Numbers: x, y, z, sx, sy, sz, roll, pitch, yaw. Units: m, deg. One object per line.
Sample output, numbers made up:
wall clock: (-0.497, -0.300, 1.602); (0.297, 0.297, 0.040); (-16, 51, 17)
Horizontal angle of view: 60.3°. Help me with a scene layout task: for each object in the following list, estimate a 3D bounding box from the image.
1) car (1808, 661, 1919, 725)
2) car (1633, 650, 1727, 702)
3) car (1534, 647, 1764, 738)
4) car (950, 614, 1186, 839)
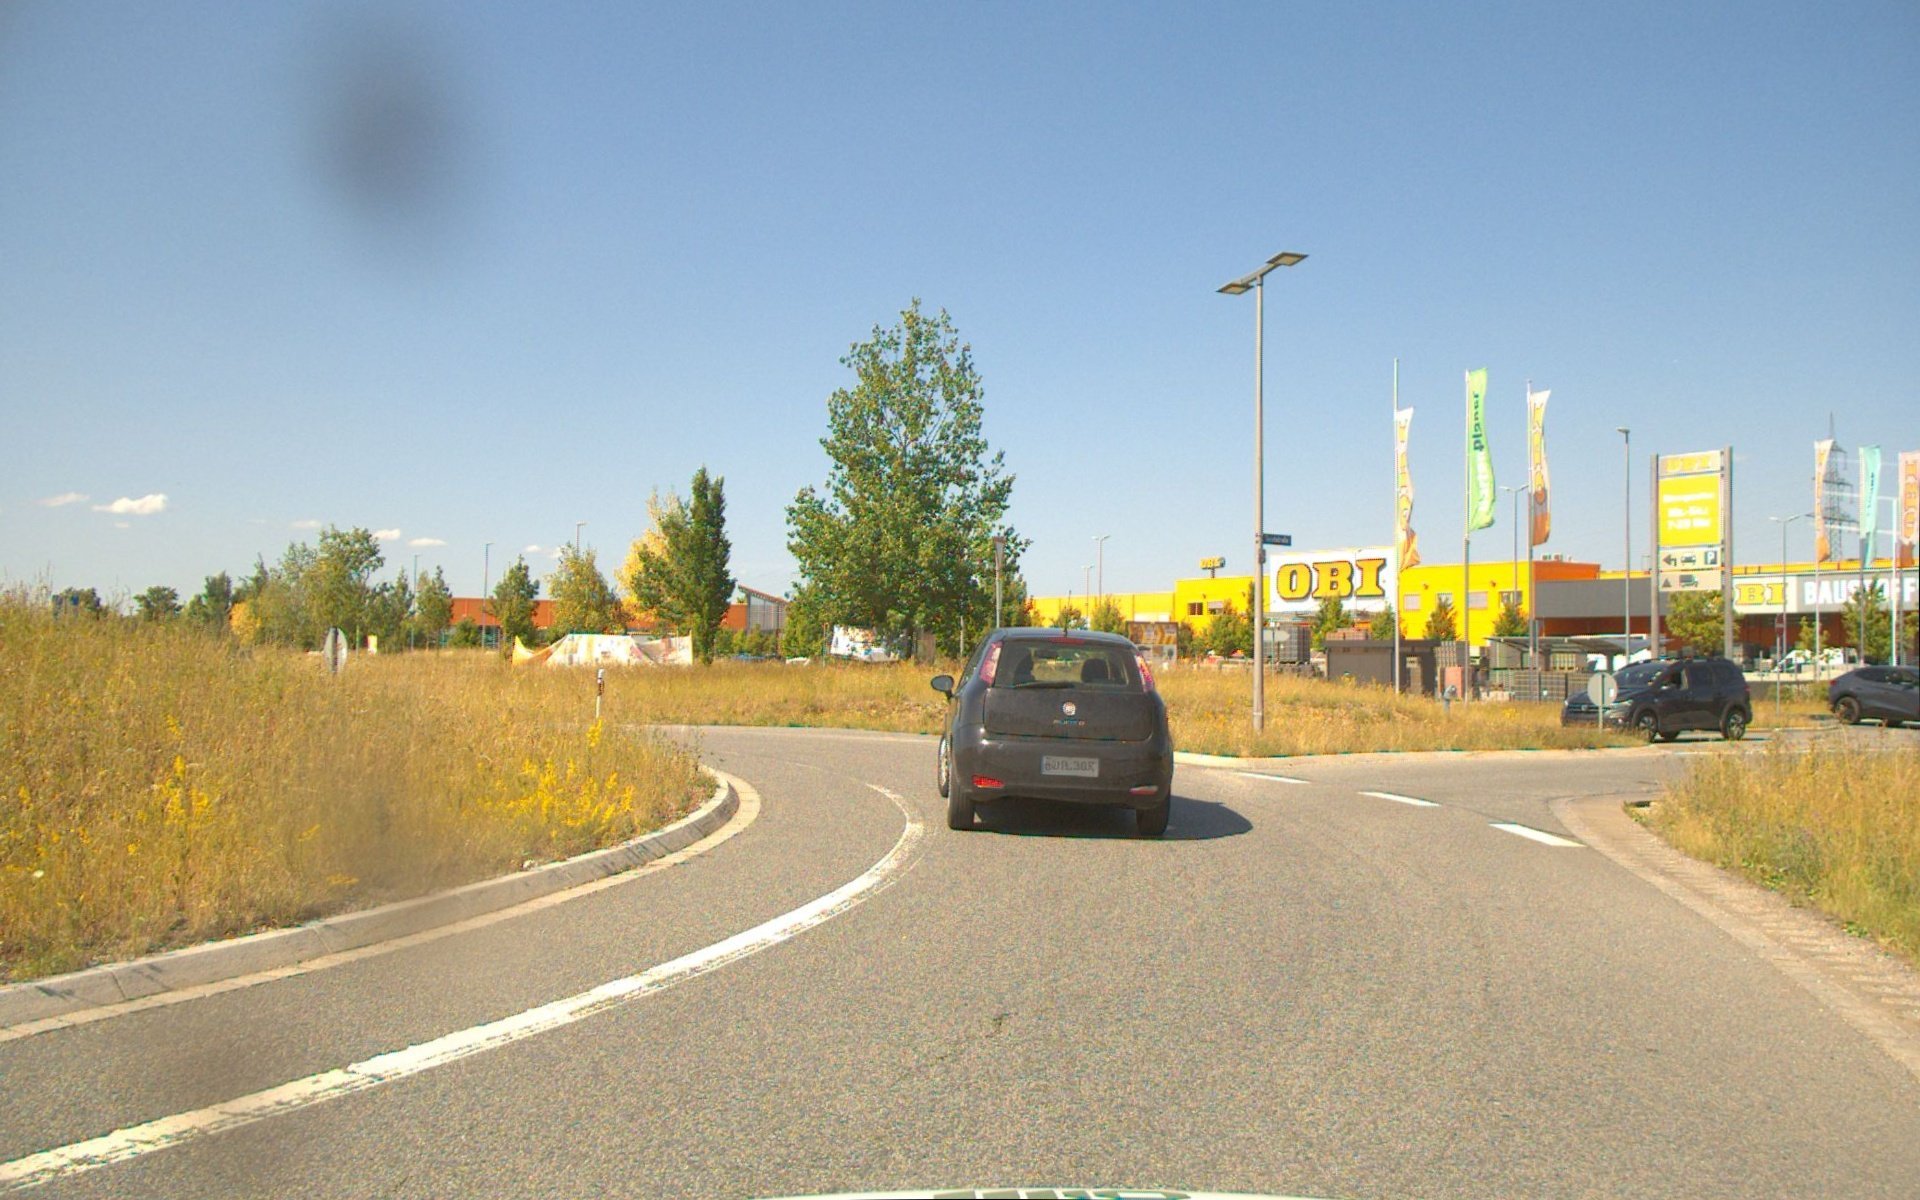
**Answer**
car: (25.208, 2.458, 43.752); (2.046, 1.655, 4.658); (1, -3, -25)
car: (28.164, 2.973, 64.646); (3.729, 1.874, 1.680); (4, -4, -34)
car: (14.056, 1.881, 33.707); (4.562, 1.736, 1.938); (2, -4, -30)
car: (0.802, 0.935, 13.484); (1.605, 1.514, 3.904); (2, -2, 1)
